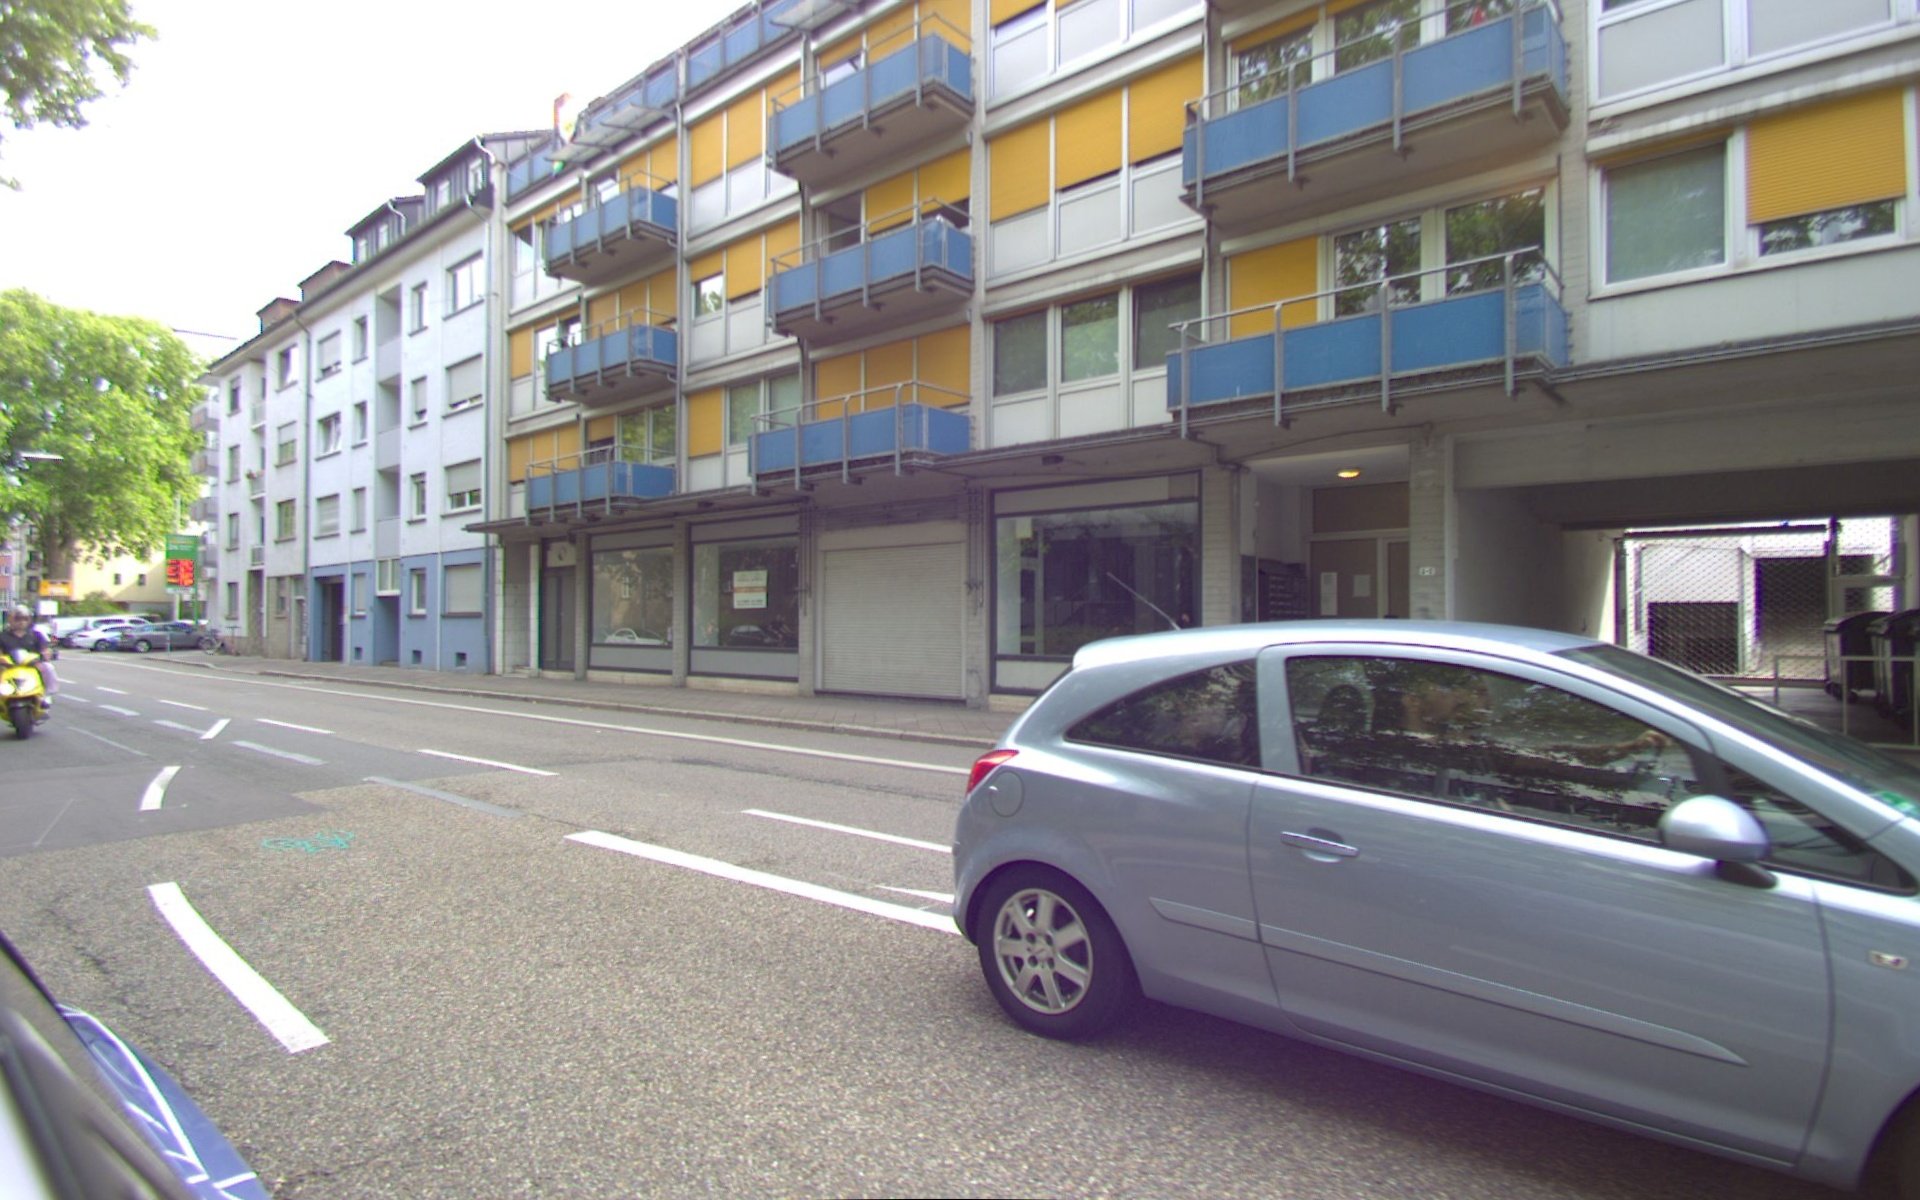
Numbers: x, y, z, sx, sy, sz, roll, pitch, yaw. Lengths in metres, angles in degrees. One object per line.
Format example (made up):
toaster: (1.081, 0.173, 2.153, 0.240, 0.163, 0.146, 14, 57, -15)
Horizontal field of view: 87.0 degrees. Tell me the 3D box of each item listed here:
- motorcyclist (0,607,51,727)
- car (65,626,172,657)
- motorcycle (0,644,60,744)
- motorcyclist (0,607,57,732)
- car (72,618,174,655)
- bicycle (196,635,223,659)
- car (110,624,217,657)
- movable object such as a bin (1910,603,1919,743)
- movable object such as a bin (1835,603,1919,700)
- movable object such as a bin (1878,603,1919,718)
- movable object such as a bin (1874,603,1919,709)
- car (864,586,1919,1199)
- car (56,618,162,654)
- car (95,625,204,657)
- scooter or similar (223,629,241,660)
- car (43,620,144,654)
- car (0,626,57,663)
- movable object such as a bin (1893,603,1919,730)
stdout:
motorcyclist: (-13.206, 0.918, 14.000, 0.892, 1.630, 0.692, 1, -2, -44)
car: (-45.748, 2.223, 55.088, 1.873, 1.462, 4.227, -2, 0, 41)
motorcycle: (-12.688, 1.206, 13.501, 0.892, 1.206, 2.632, 1, -2, -44)
motorcyclist: (-12.688, 0.909, 13.516, 0.892, 1.630, 0.692, 1, -2, -44)
car: (-47.400, 2.062, 57.385, 1.923, 1.862, 4.167, -2, 0, 41)
bicycle: (-32.009, 1.988, 43.154, 1.662, 0.957, 0.591, -2, -1, 41)
car: (-41.605, 2.086, 52.900, 1.836, 1.525, 4.108, -2, 0, 41)
movable object such as a bin: (10.908, 0.769, 10.800, 1.052, 1.475, 1.177, -2, -2, 42)
movable object such as a bin: (14.572, 0.795, 16.028, 1.052, 1.475, 1.177, -2, -2, 42)
movable object such as a bin: (12.843, 0.780, 13.341, 1.052, 1.475, 1.177, -2, -2, 42)
movable object such as a bin: (13.819, 0.785, 14.479, 1.052, 1.475, 1.177, -2, -2, 42)
car: (1.791, 0.714, 3.208, 4.250, 1.431, 1.695, -1, -2, 40)
car: (-52.225, 2.172, 62.154, 1.993, 1.949, 4.716, -2, 0, 42)
car: (-43.454, 2.162, 54.324, 1.909, 1.462, 4.256, -2, 0, 41)
scooter or similar: (-29.860, 1.819, 41.511, 1.201, 1.231, 0.346, -2, -1, 41)
car: (-54.242, 2.270, 63.406, 1.949, 1.873, 4.567, -2, 0, 42)
car: (-38.323, 1.795, 41.178, 4.095, 1.438, 1.739, -1, -3, 40)
movable object such as a bin: (11.819, 0.774, 12.001, 1.052, 1.475, 1.177, -2, -2, 42)
